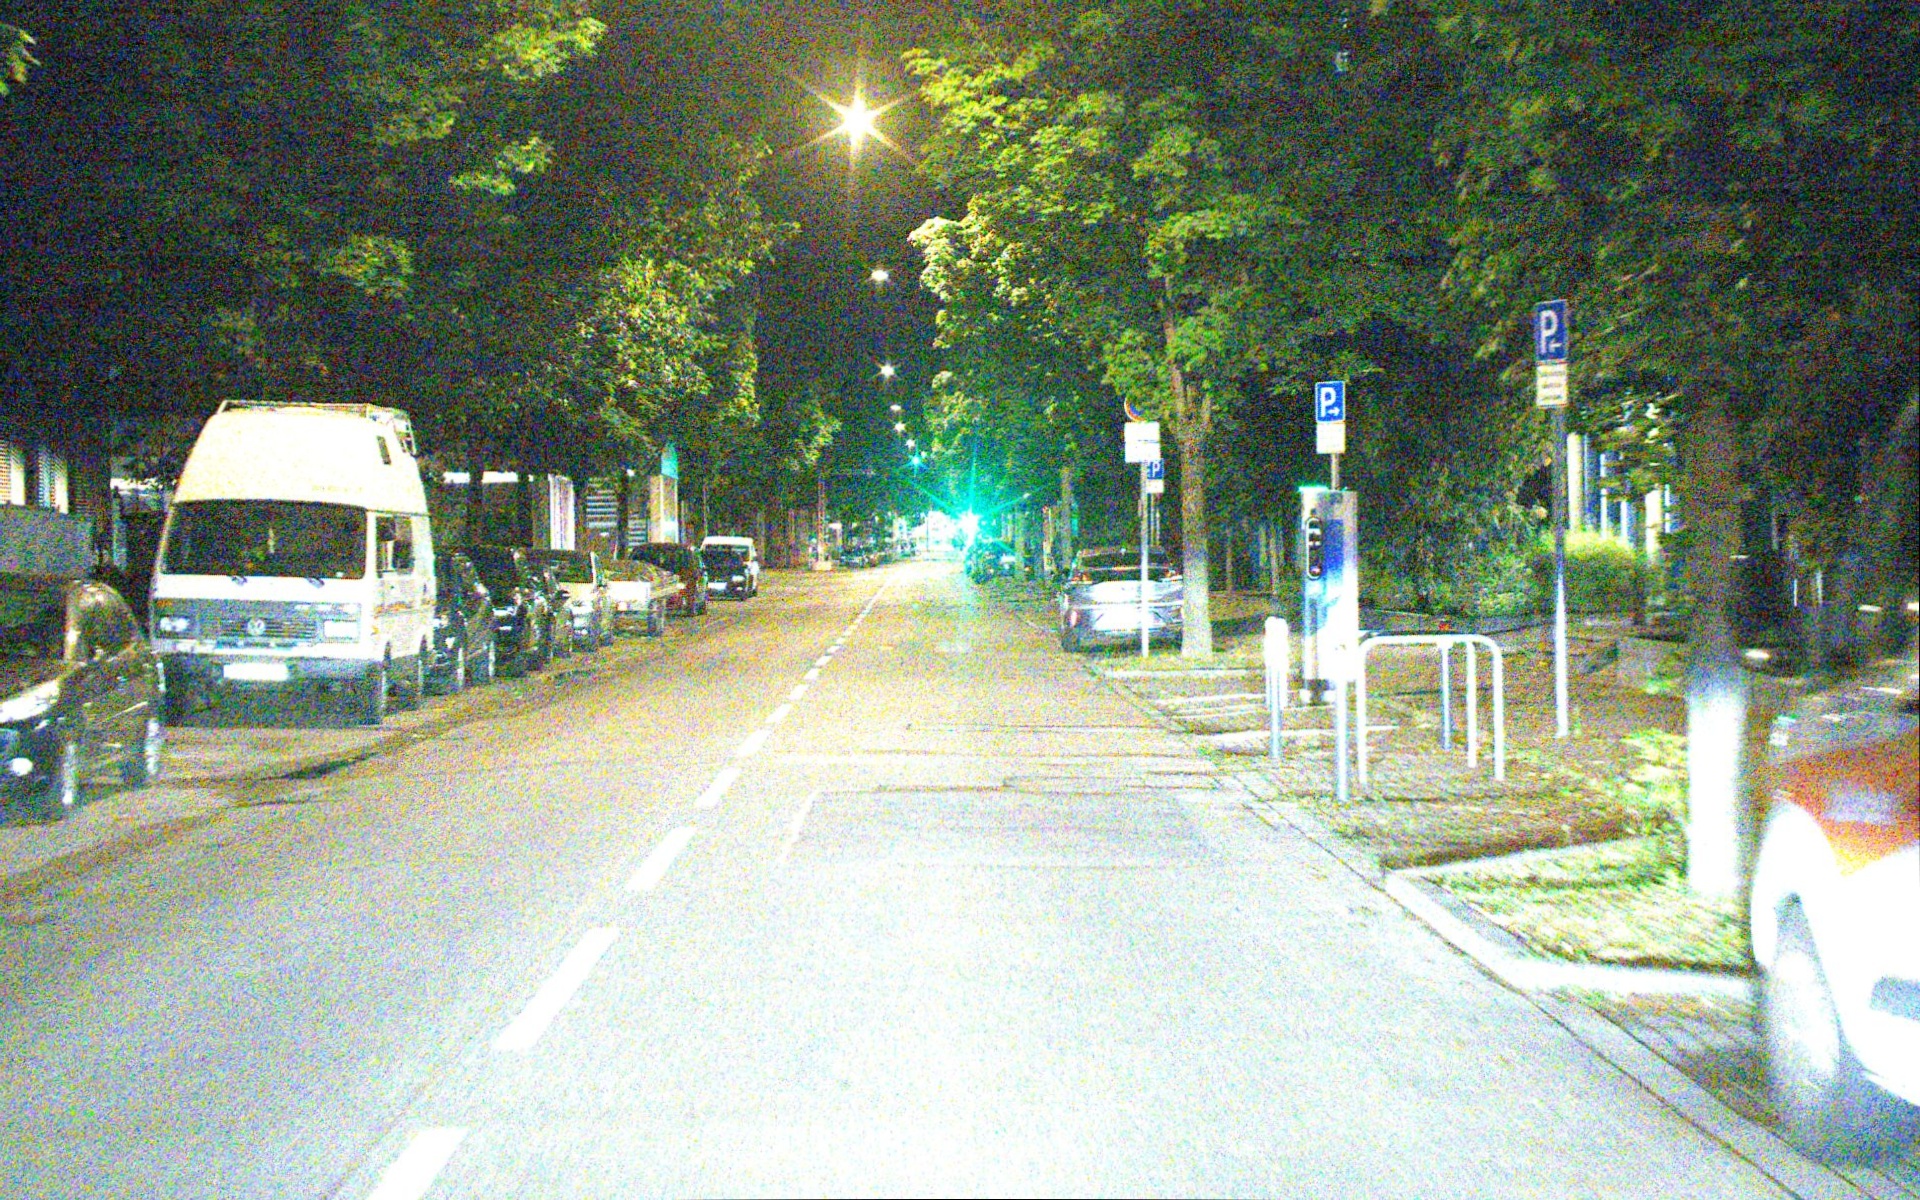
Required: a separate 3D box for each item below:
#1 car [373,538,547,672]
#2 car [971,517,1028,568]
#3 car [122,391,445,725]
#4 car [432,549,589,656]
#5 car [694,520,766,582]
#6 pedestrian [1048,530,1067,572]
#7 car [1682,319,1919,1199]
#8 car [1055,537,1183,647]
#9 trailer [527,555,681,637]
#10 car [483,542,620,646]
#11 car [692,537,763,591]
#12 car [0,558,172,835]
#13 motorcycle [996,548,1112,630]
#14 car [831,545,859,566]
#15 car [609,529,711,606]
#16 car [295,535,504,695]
[{"bbox_3d":[-6.291,0.021,43.597,1.742,1.601,4.299,1,1,-2],"label":"car"},{"bbox_3d":[1.351,-1.998,119.332,1.853,1.648,4.209,-3,1,0],"label":"car"},{"bbox_3d":[-6.292,-0.417,32.552,2.179,2.899,4.910,1,1,-1],"label":"car"},{"bbox_3d":[-6.367,0.004,49.082,1.704,1.407,4.634,-1,1,-1],"label":"car"},{"bbox_3d":[-7.084,-1.526,106.048,1.822,1.805,4.210,3,1,1],"label":"car"},{"bbox_3d":[4.046,-2.026,142.728,0.705,1.716,0.821,-2,1,0],"label":"pedestrian"},{"bbox_3d":[2.957,0.383,6.632,1.950,1.957,4.604,-2,1,-2],"label":"car"},{"bbox_3d":[2.225,-0.147,48.888,1.668,1.424,4.148,-3,1,2],"label":"car"},{"bbox_3d":[-6.337,-0.098,61.800,2.110,1.330,5.435,2,1,1],"label":"trailer"},{"bbox_3d":[-6.390,-0.121,54.118,1.716,1.496,4.206,2,1,-1],"label":"car"},{"bbox_3d":[-6.656,-1.037,98.654,1.700,1.428,3.828,3,1,0],"label":"car"},{"bbox_3d":[-6.163,0.528,21.556,1.645,1.499,3.862,0,2,-2],"label":"car"},{"bbox_3d":[1.495,-0.189,55.072,0.926,1.279,2.235,-1,1,-25],"label":"motorcycle"},{"bbox_3d":[-7.592,-2.949,227.001,1.740,1.411,3.752,0,1,0],"label":"car"},{"bbox_3d":[-6.683,-0.746,77.003,1.822,1.593,4.073,3,1,1],"label":"car"},{"bbox_3d":[-6.150,0.120,38.117,1.742,1.601,4.116,1,2,-2],"label":"car"}]
